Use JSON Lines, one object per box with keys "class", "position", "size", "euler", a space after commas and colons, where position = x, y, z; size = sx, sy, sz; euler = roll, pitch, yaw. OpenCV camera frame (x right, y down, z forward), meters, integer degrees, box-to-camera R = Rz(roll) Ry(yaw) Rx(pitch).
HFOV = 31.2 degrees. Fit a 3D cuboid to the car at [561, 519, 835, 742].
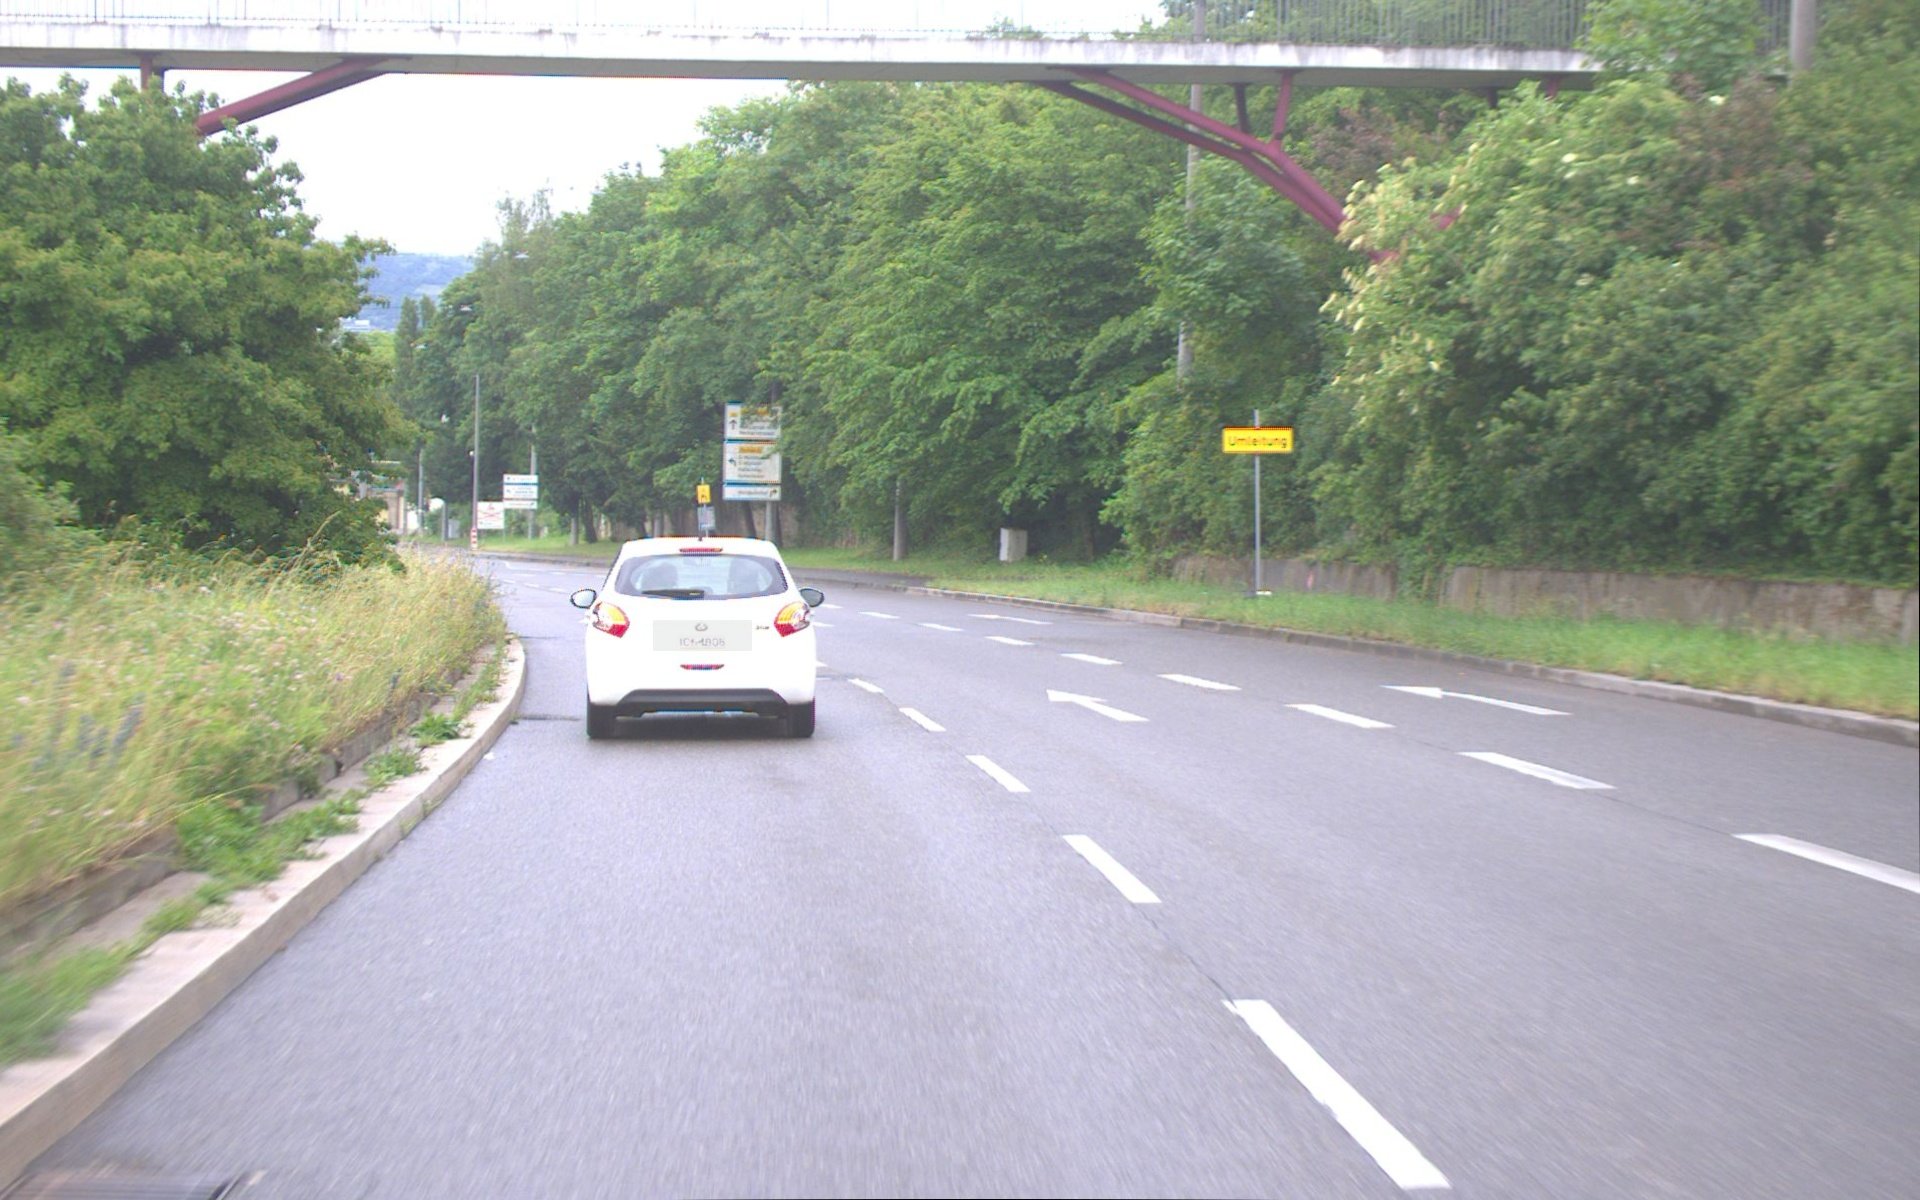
{"class": "car", "position": [-2.079, 0.177, 26.298], "size": [1.868, 1.505, 3.901], "euler": [1, 2, -7]}
